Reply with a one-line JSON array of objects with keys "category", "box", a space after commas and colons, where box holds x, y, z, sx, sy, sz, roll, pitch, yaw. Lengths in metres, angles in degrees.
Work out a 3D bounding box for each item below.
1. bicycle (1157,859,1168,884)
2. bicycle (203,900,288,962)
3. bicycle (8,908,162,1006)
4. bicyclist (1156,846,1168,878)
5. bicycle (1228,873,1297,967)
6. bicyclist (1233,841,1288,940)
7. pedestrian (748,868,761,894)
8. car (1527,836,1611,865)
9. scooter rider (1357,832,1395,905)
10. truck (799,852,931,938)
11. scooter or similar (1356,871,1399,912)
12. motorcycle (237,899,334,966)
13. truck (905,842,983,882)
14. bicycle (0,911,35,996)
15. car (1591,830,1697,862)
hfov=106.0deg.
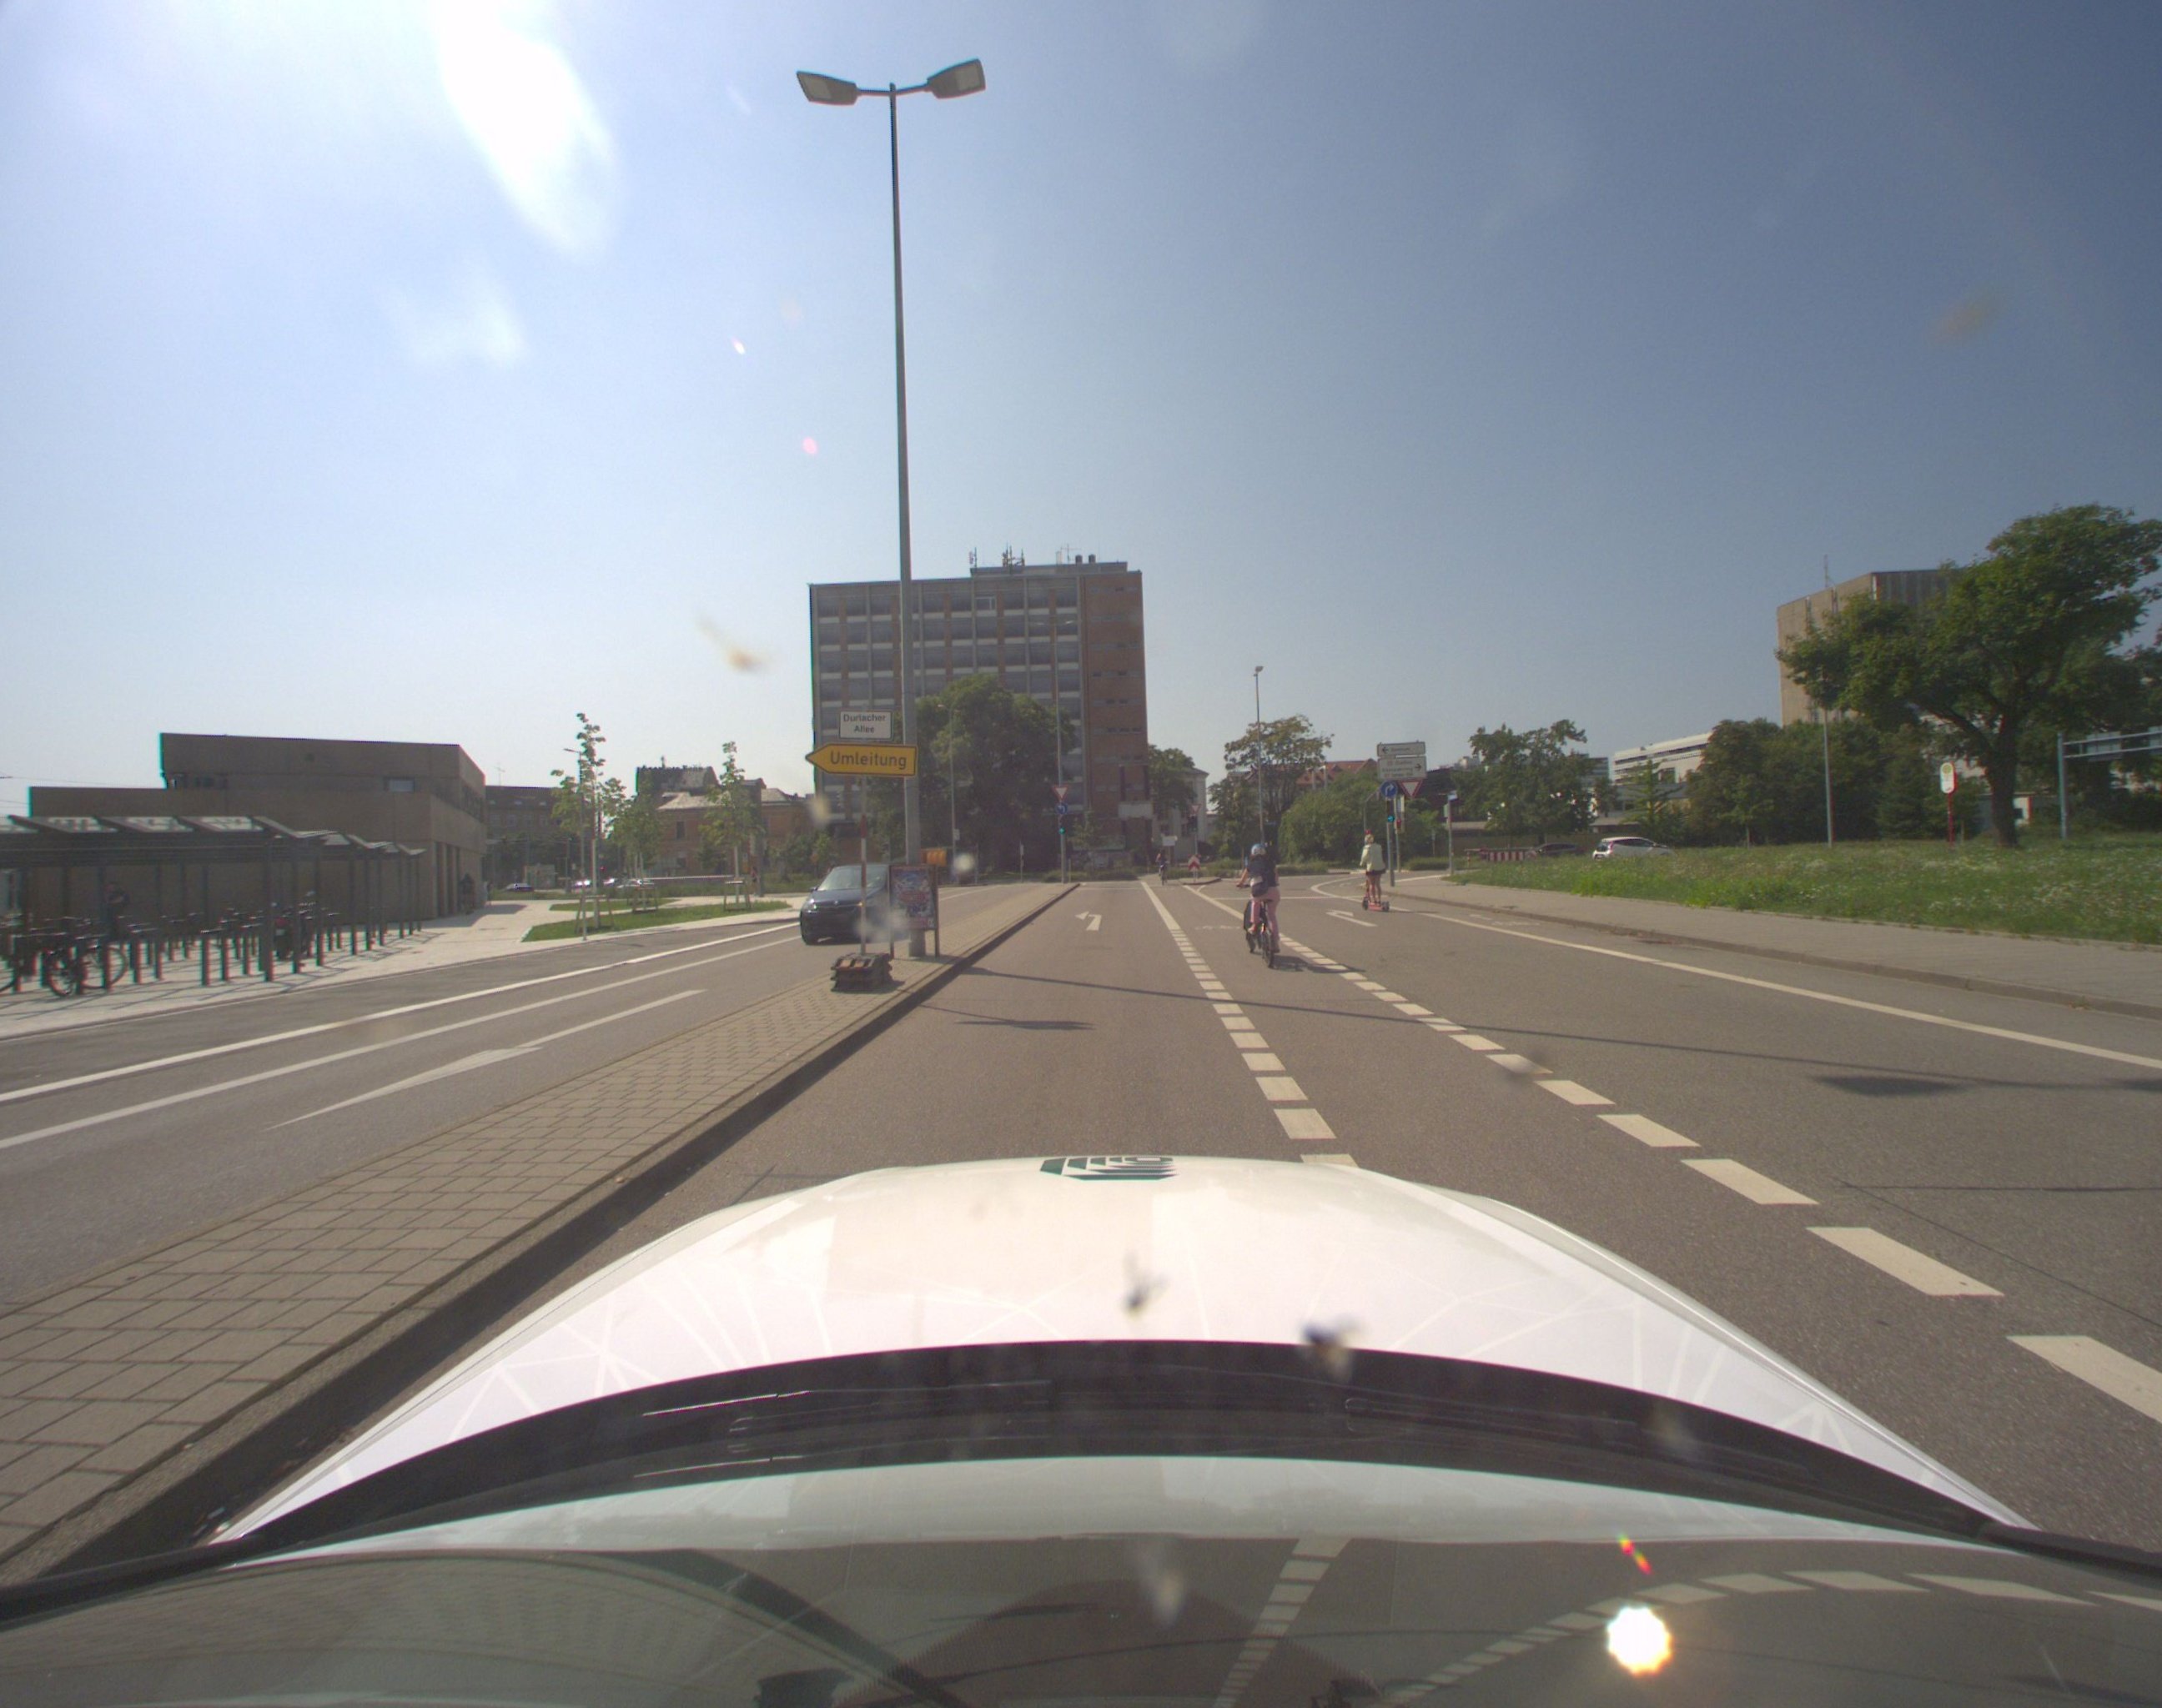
[{"category": "bicycle", "box": [3.763, 0.802, 37.703, 0.442, 1.116, 1.448, -3, 0, 6]}, {"category": "bicycle", "box": [-18.740, 1.692, 18.308, 0.606, 1.210, 1.797, -2, 0, -21]}, {"category": "bicycle", "box": [-14.690, 1.470, 12.079, 0.606, 1.210, 1.797, -2, 0, -21]}, {"category": "bicyclist", "box": [3.764, 0.372, 37.851, 0.447, 1.421, 0.496, -3, 0, 6]}, {"category": "bicycle", "box": [2.542, 0.889, 11.568, 0.601, 1.163, 1.811, -2, 0, 2]}, {"category": "bicyclist", "box": [2.542, 0.502, 11.566, 0.600, 1.335, 0.660, -2, 0, 1]}, {"category": "pedestrian", "box": [-19.464, 1.612, 48.596, 0.534, 1.552, 0.412, -2, 0, -43]}, {"category": "car", "box": [29.560, -0.215, 49.408, 3.968, 1.565, 1.826, -2, 0, 5]}, {"category": "scooter rider", "box": [7.329, 0.365, 20.268, 0.757, 1.775, 0.557, -2, 0, 11]}, {"category": "truck", "box": [-4.242, 0.739, 16.545, 1.549, 1.504, 3.622, -3, 0, 2]}, {"category": "scooter or similar", "box": [7.352, 0.905, 20.247, 0.767, 0.926, 1.625, -2, 0, 12]}, {"category": "motorcycle", "box": [-16.697, 1.604, 17.164, 0.606, 1.210, 2.237, -2, 0, -21]}, {"category": "truck", "box": [-10.926, 0.629, 64.935, 5.889, 2.990, 2.722, -2, -1, 36]}, {"category": "bicycle", "box": [-15.992, 1.473, 11.512, 0.606, 1.210, 1.797, -2, 0, -21]}, {"category": "car", "box": [28.326, -0.383, 41.066, 3.966, 1.391, 1.852, -2, 0, 6]}]
